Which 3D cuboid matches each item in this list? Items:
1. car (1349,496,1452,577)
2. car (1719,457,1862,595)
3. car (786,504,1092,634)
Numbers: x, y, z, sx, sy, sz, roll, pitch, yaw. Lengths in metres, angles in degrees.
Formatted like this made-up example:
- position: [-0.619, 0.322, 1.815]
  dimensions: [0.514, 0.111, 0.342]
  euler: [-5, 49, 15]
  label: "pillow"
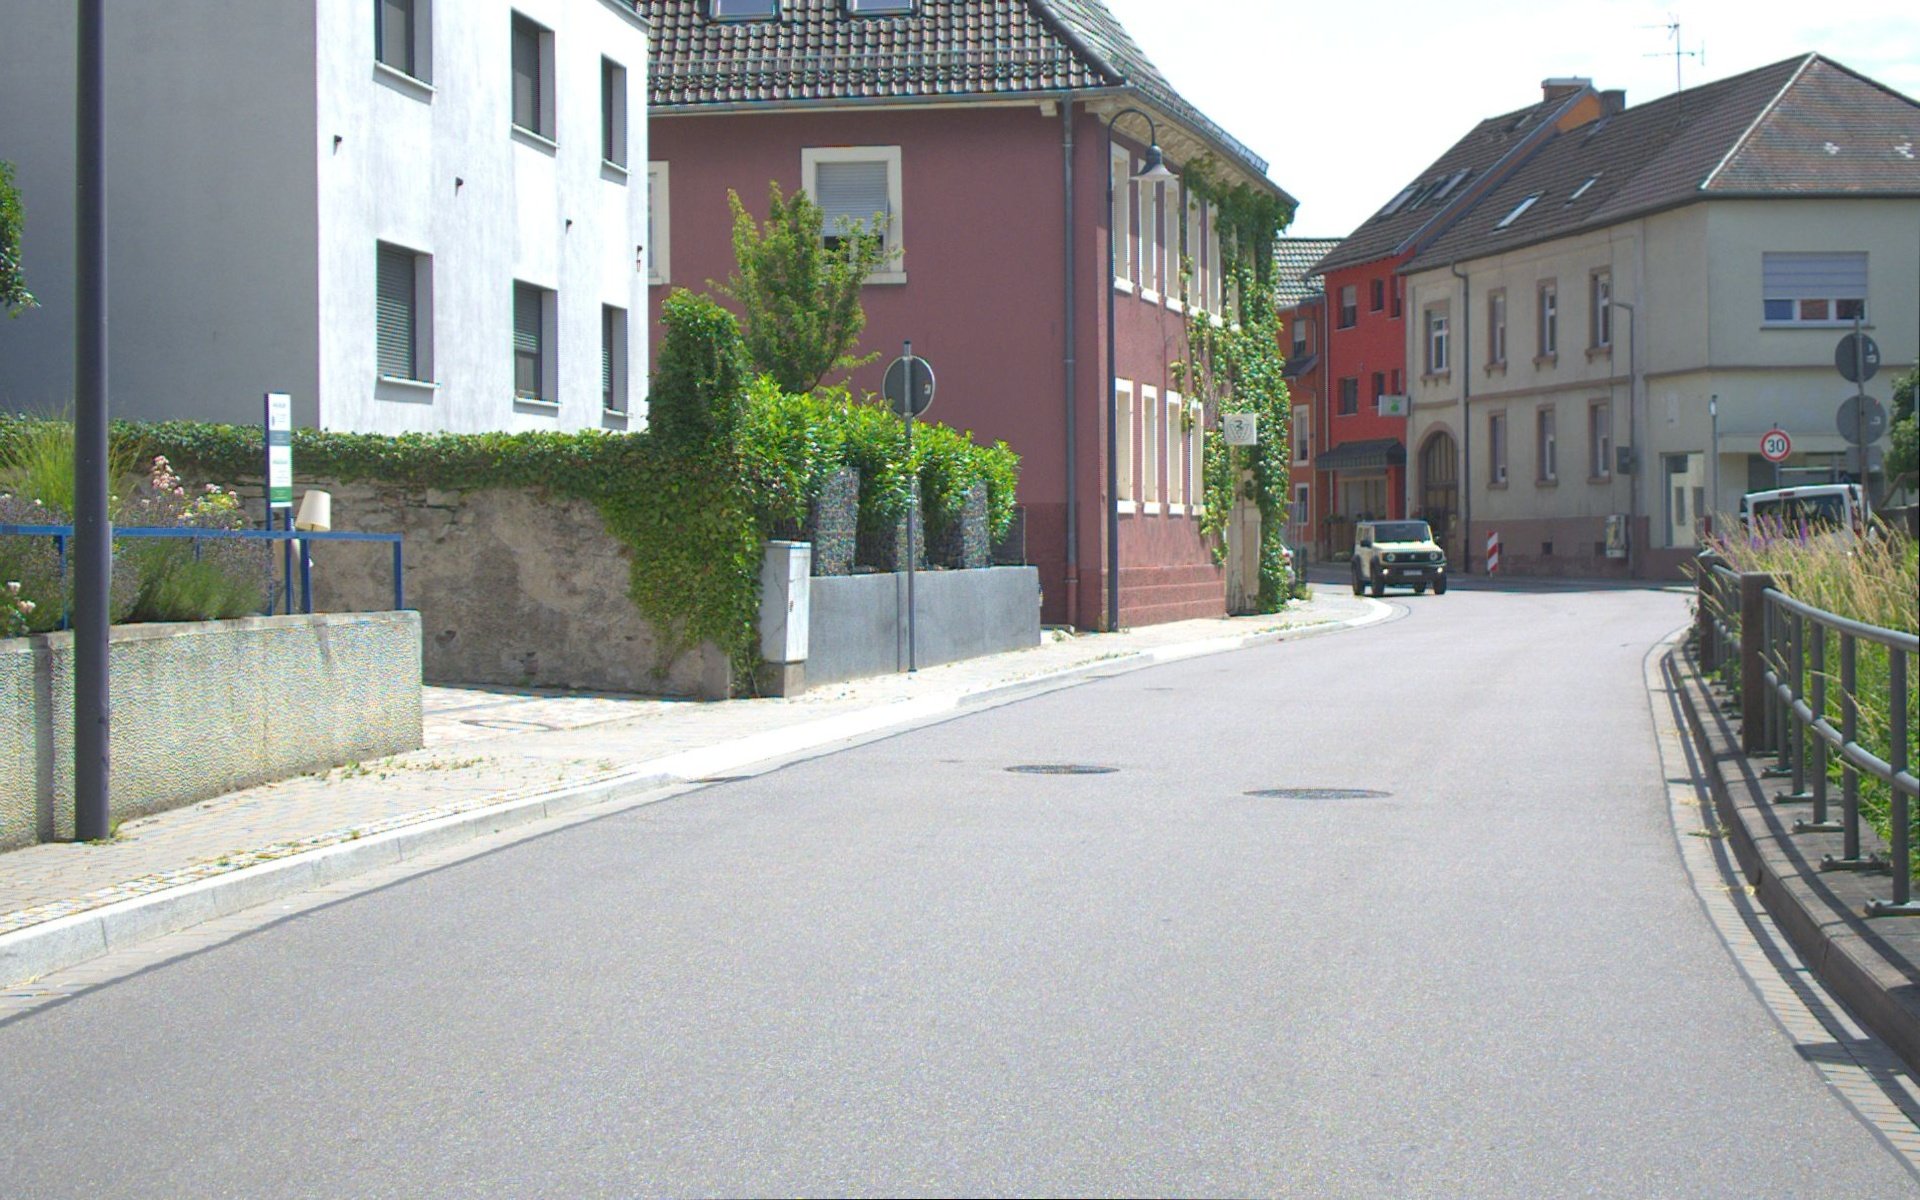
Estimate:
- position: [9.907, -1.432, 77.507]
  dimensions: [1.621, 1.713, 3.473]
  euler: [-3, 1, -3]
  label: "car"
- position: [12.785, -1.139, 52.810]
  dimensions: [1.899, 1.974, 3.111]
  euler: [-2, 1, 16]
  label: "car"
- position: [-0.258, -0.419, 44.204]
  dimensions: [3.567, 1.401, 1.651]
  euler: [4, 2, 13]
  label: "car"
